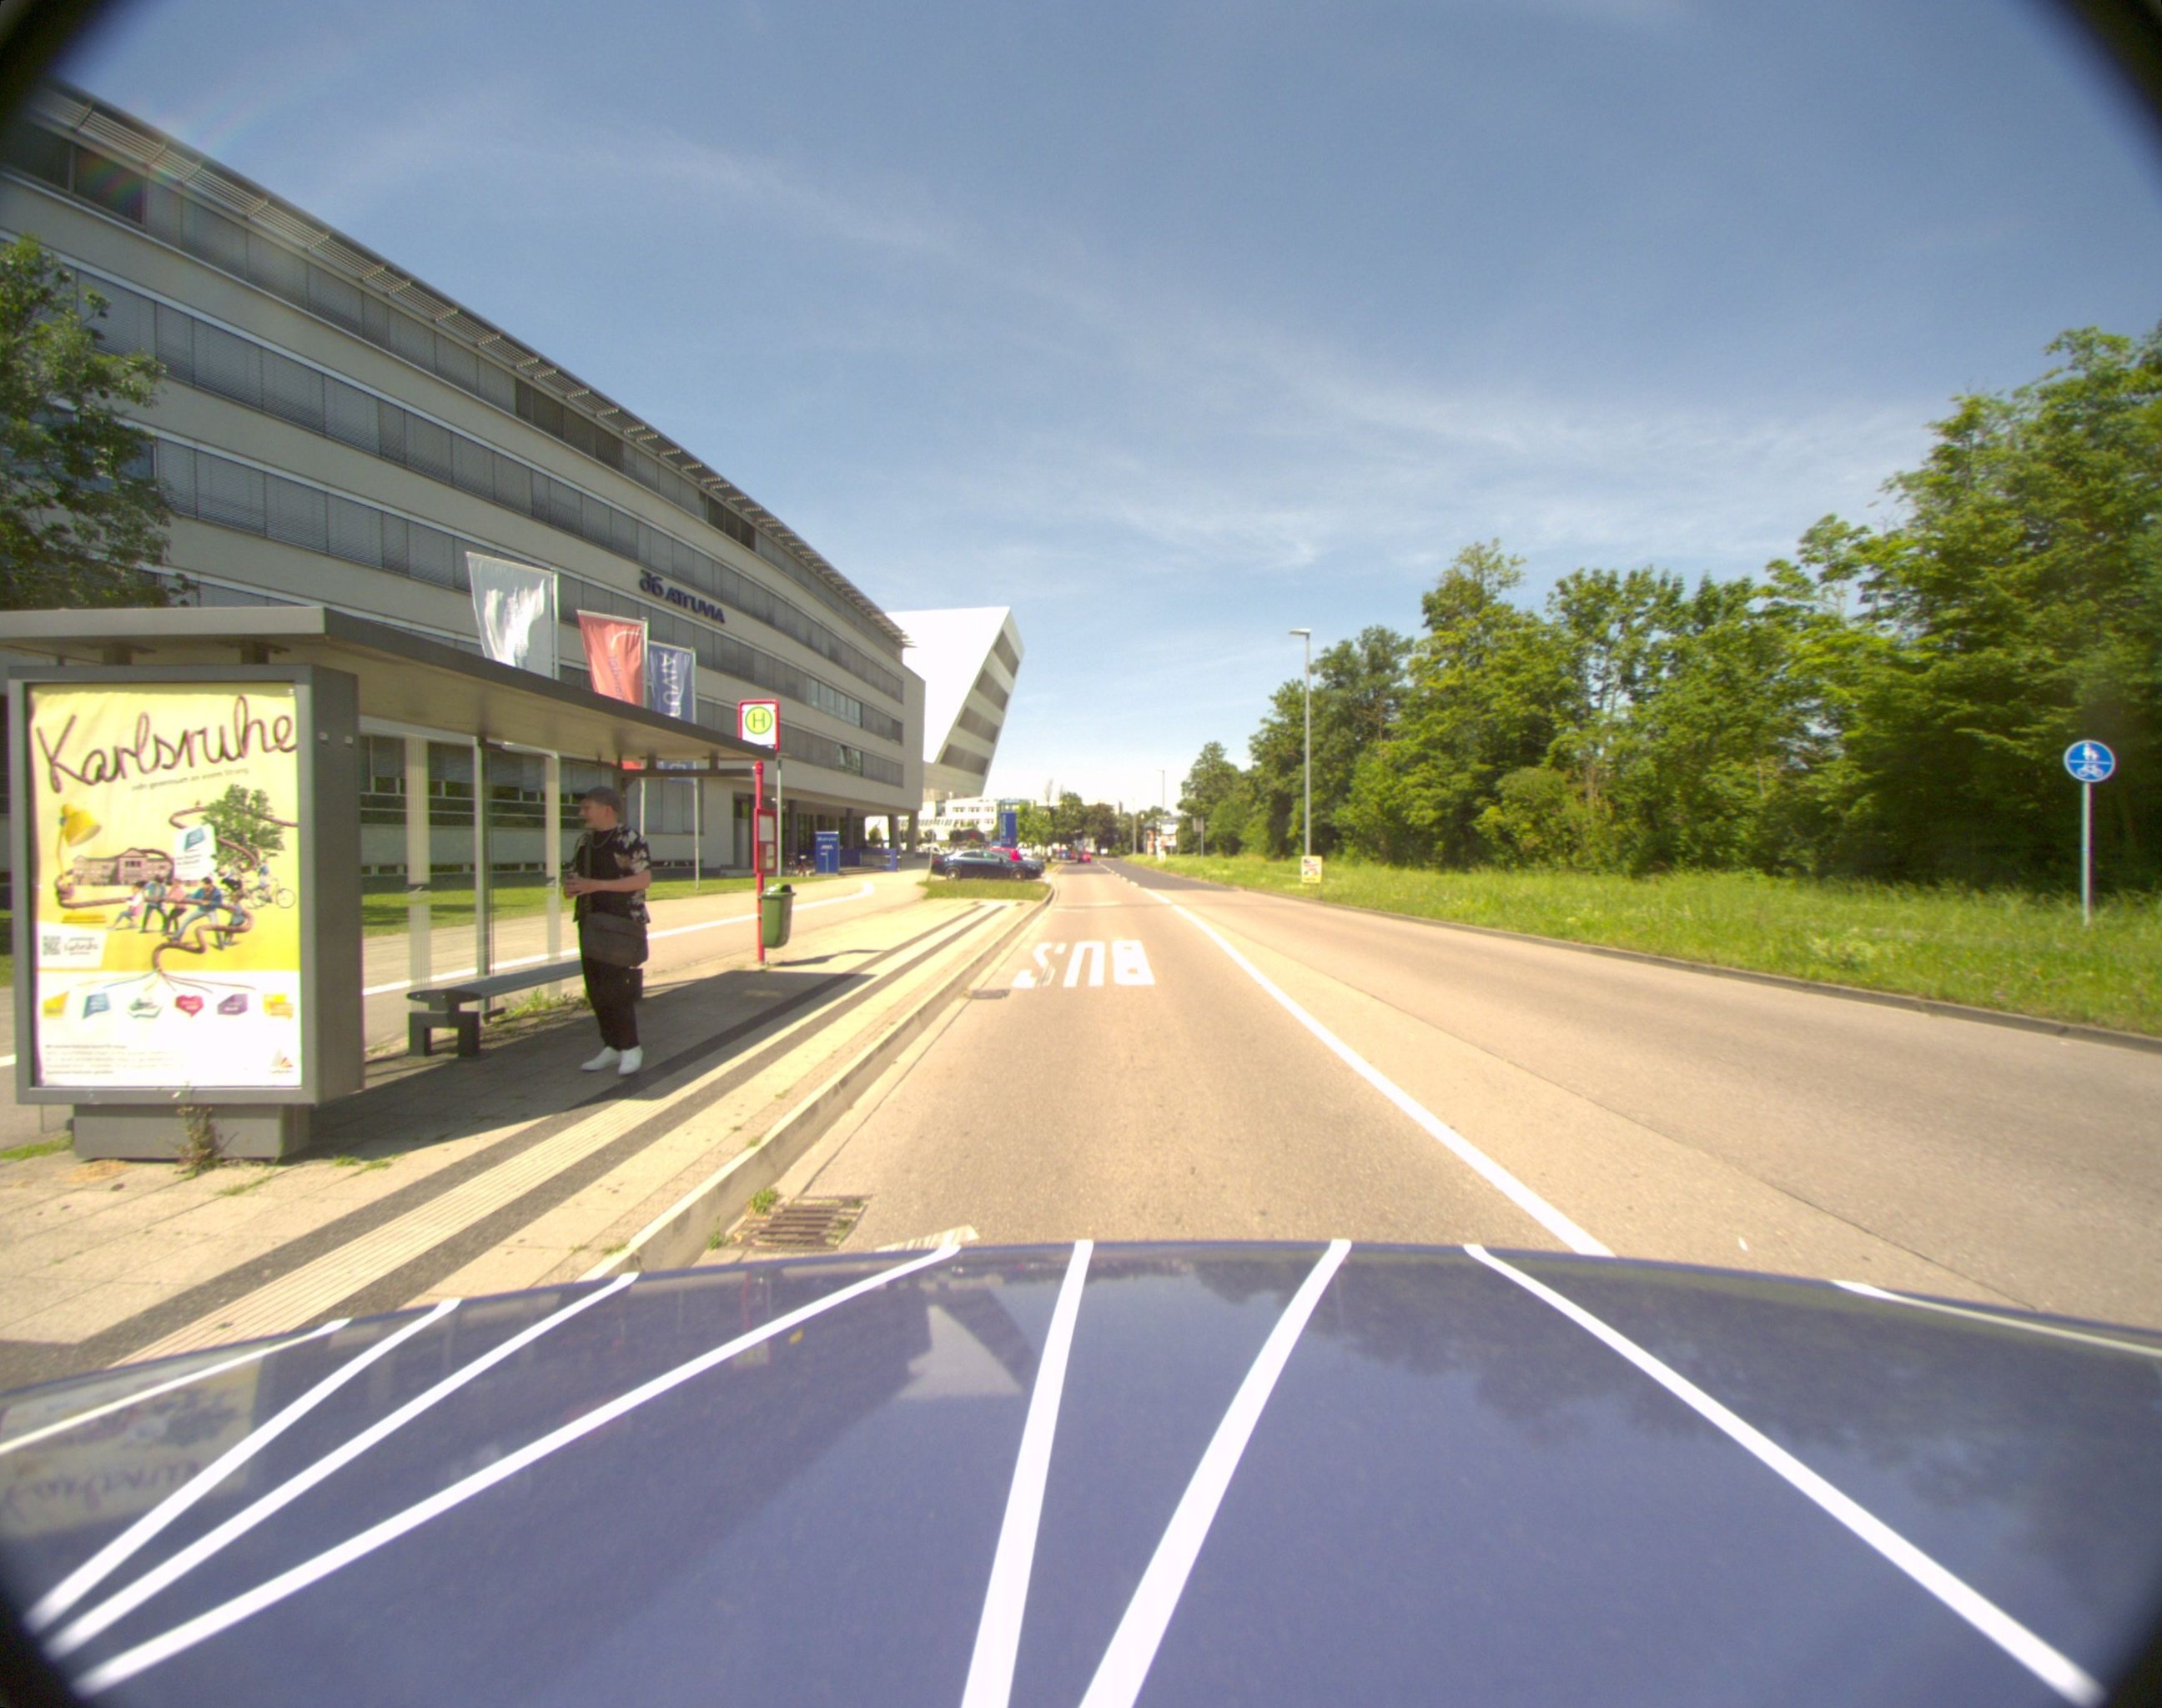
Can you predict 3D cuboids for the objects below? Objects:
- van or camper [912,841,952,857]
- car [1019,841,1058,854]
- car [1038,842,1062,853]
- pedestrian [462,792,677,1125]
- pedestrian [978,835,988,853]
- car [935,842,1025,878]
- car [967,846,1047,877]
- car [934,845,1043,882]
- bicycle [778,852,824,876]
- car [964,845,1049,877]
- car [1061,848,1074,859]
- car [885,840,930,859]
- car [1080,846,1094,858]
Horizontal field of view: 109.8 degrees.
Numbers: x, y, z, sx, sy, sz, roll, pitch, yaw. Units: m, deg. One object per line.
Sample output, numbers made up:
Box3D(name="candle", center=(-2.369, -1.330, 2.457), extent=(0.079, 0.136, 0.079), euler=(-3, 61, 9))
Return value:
Box3D(name="van or camper", center=(-22.986, -0.745, 117.242), extent=(5.699, 2.376, 1.704), euler=(-1, 1, 6))
Box3D(name="car", center=(-7.552, -1.102, 134.324), extent=(6.492, 2.137, 2.165), euler=(-1, 1, 6))
Box3D(name="car", center=(-5.666, -1.243, 140.062), extent=(4.204, 1.964, 1.704), euler=(-1, 1, 6))
Box3D(name="pedestrian", center=(-3.032, 0.574, 4.581), extent=(0.710, 1.812, 0.826), euler=(2, 1, 0))
Box3D(name="pedestrian", center=(-9.148, -0.962, 70.981), extent=(0.844, 1.650, 0.775), euler=(-1, 1, -1))
Box3D(name="car", center=(-4.725, 0.256, 35.953), extent=(3.996, 1.645, 1.839), euler=(0, 1, 2))
Box3D(name="car", center=(-3.679, 0.369, 38.179), extent=(3.816, 1.477, 1.655), euler=(1, 1, 2))
Box3D(name="car", center=(-3.988, 0.391, 33.328), extent=(4.579, 1.424, 1.827), euler=(2, 1, -1))
Box3D(name="bicycle", center=(-12.857, 0.469, 34.901), extent=(1.881, 1.054, 0.534), euler=(-1, 1, 4))
Box3D(name="car", center=(-3.925, 0.363, 40.600), extent=(4.331, 1.555, 1.786), euler=(1, 1, 1))
Box3D(name="car", center=(-2.042, -0.059, 115.459), extent=(1.802, 1.490, 3.999), euler=(-1, 1, -1))
Box3D(name="car", center=(-23.828, -0.645, 104.440), extent=(5.580, 2.446, 2.001), euler=(-1, 1, 6))
Box3D(name="car", center=(0.760, -0.255, 92.447), extent=(1.662, 1.495, 3.357), euler=(-1, 1, 2))
